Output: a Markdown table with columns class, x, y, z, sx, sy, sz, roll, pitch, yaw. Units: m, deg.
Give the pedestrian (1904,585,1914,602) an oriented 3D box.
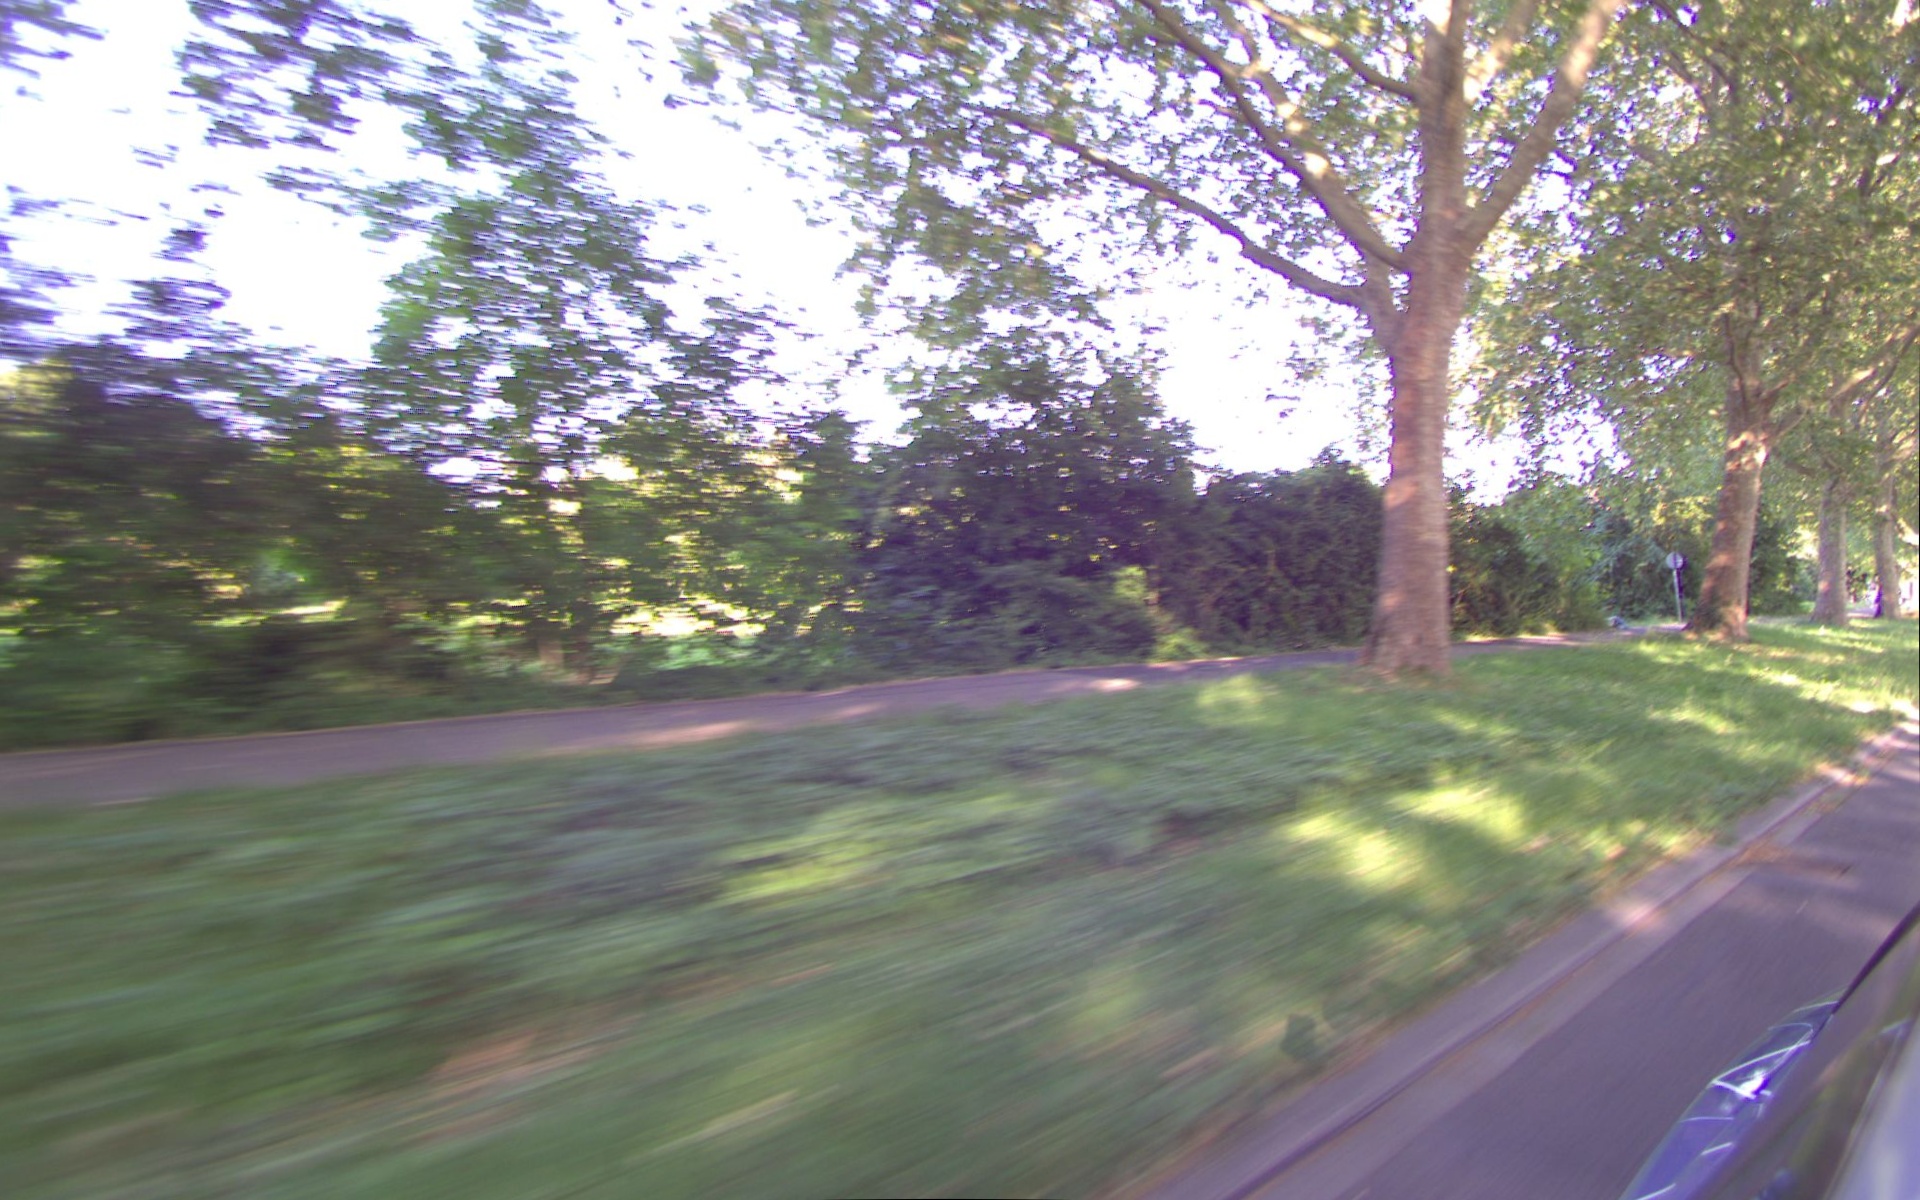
| class | x | y | z | sx | sy | sz | roll | pitch | yaw |
| --- | --- | --- | --- | --- | --- | --- | --- | --- | --- |
| pedestrian | 106.103 | -0.775 | 113.129 | 0.789 | 1.870 | 0.755 | 0 | 1 | -44 |
